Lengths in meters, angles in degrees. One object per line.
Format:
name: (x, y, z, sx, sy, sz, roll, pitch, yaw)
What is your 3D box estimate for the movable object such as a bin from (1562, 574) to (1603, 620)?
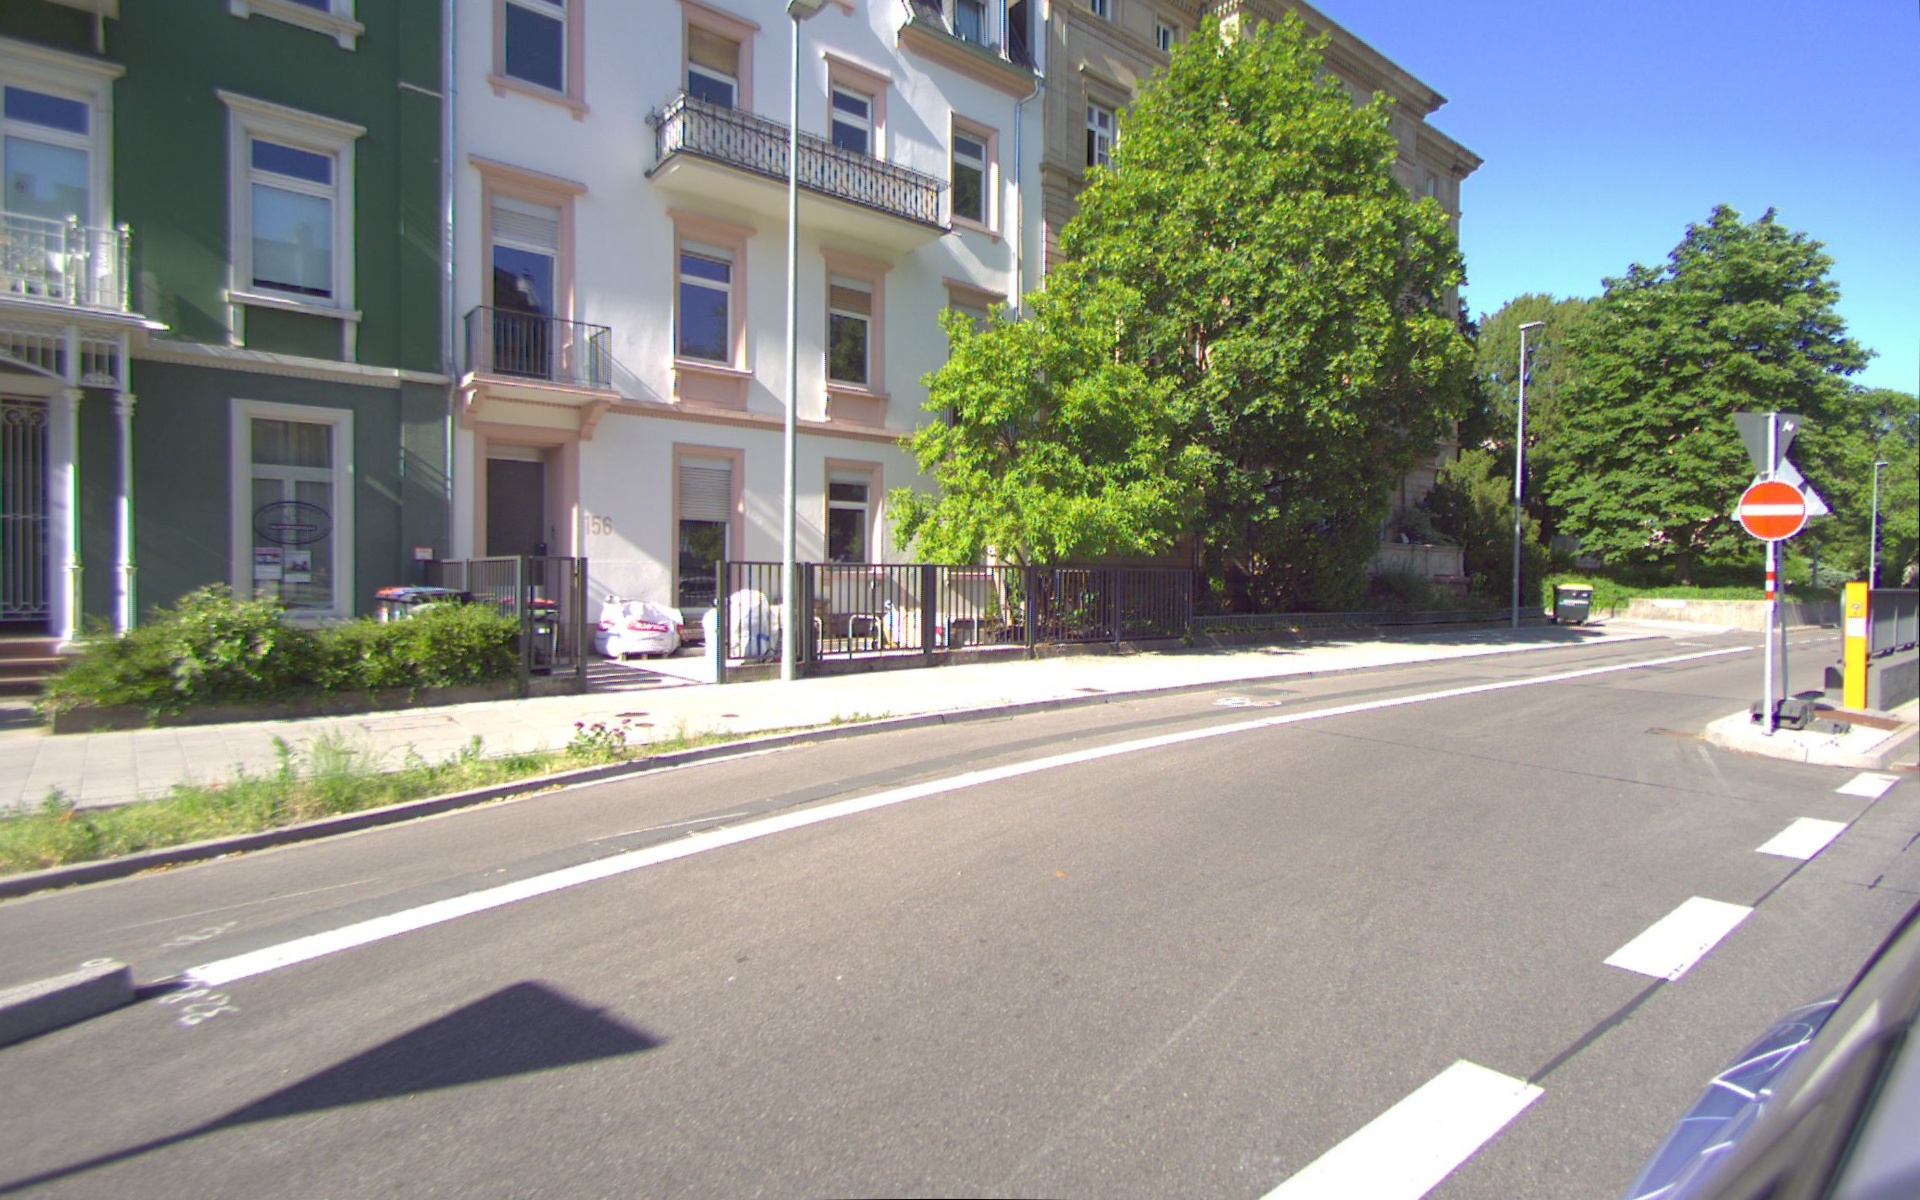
movable object such as a bin: (19.946, -0.097, 32.472, 0.965, 1.415, 1.275, 3, 1, 27)
